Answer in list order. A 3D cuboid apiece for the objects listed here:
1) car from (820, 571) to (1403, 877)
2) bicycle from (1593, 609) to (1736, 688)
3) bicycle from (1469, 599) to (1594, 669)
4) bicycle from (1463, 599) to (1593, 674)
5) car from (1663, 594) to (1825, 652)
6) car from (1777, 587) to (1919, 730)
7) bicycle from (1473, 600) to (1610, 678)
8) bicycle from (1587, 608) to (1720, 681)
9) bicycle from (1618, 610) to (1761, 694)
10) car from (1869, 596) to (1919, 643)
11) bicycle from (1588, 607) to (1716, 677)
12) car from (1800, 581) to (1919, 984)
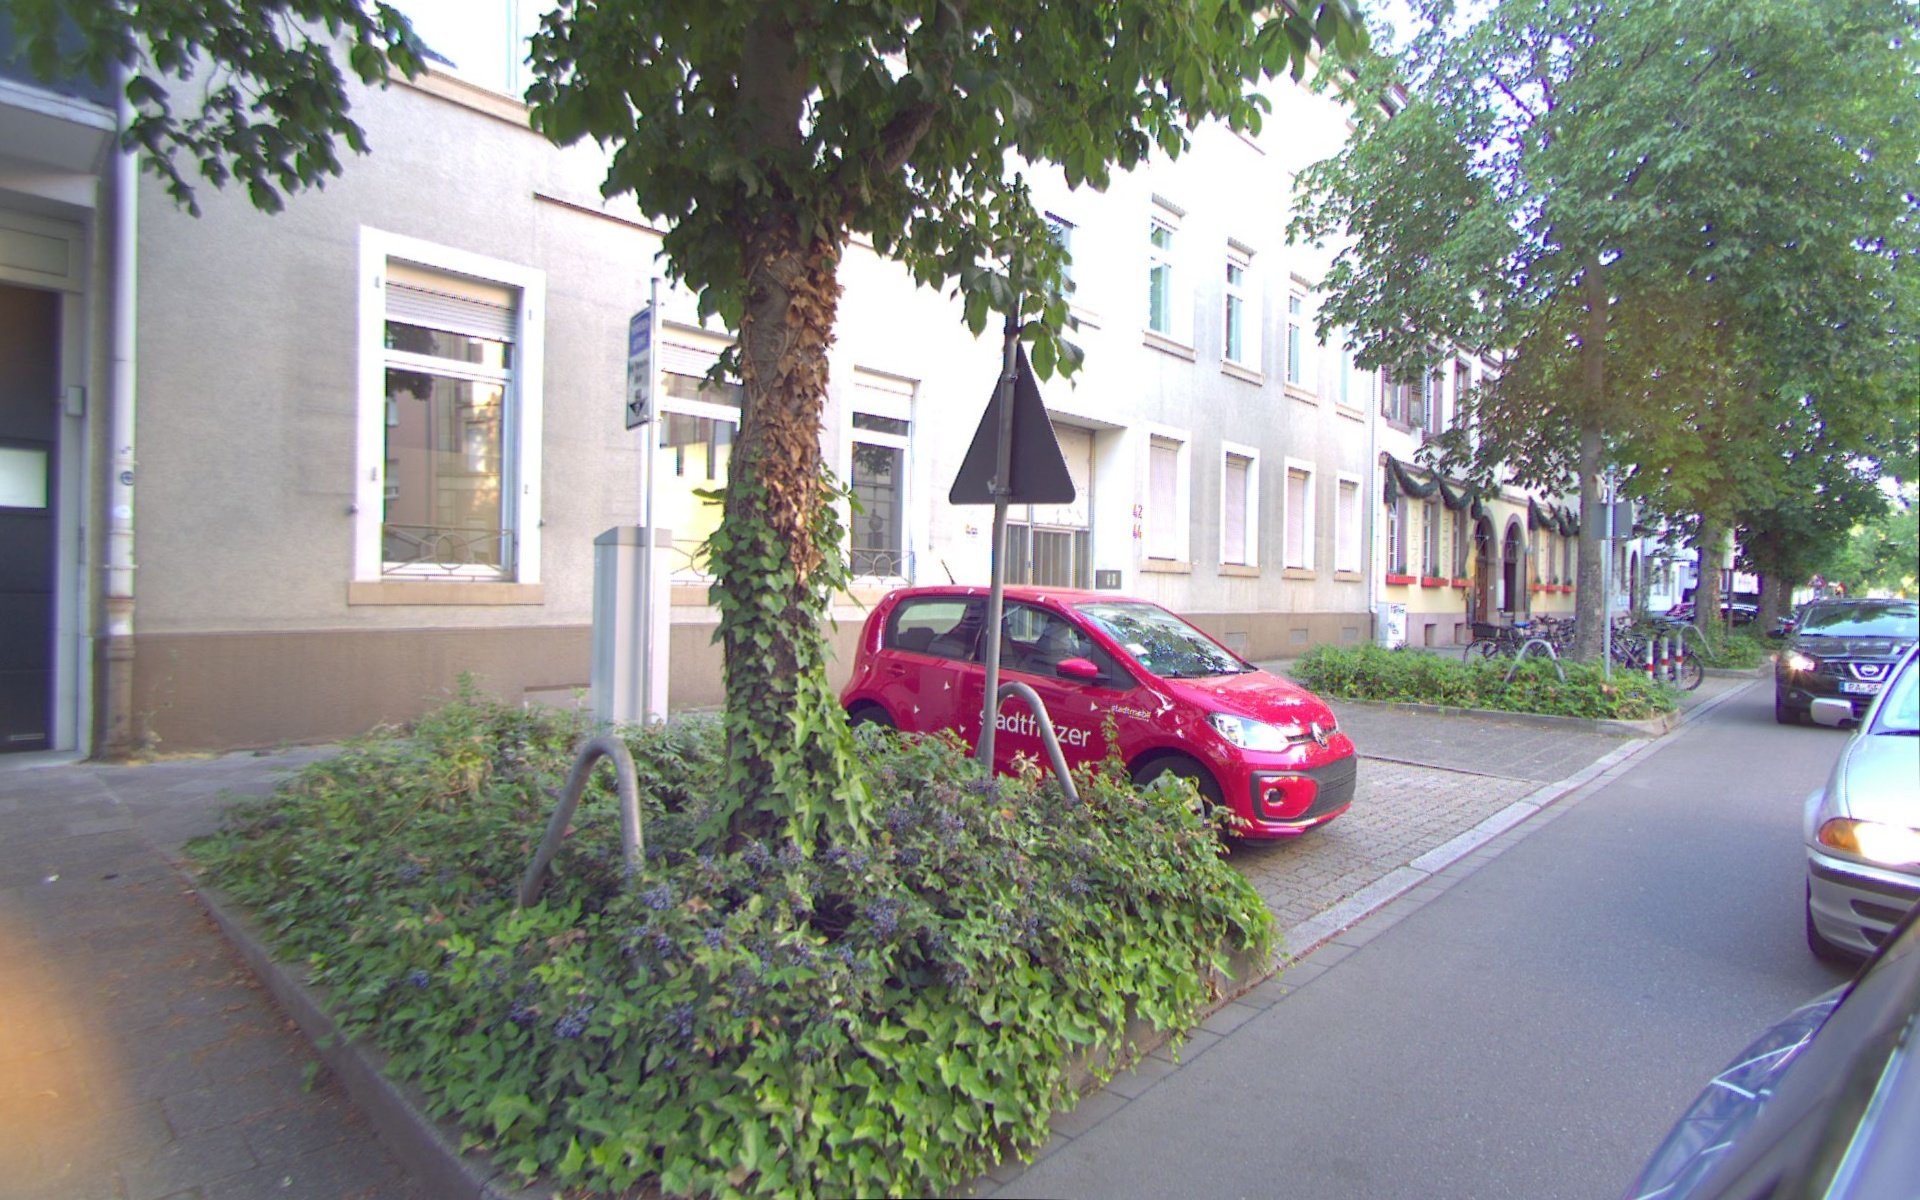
[{"bbox_3d":[0.847,0.576,6.841,3.609,1.495,1.639,2,1,42],"label":"car"},{"bbox_3d":[12.385,0.820,17.839,2.019,1.242,0.528,2,1,39],"label":"bicycle"},{"bbox_3d":[10.961,0.626,19.446,2.017,1.242,0.529,2,1,37],"label":"bicycle"},{"bbox_3d":[10.330,0.638,18.451,2.014,1.242,0.529,2,1,33],"label":"bicycle"},{"bbox_3d":[26.642,0.719,34.474,4.232,1.761,1.715,2,1,43],"label":"car"},{"bbox_3d":[11.843,0.648,12.927,1.802,1.571,3.935,2,1,45],"label":"car"},{"bbox_3d":[10.114,0.647,17.642,2.014,1.242,0.529,2,1,33],"label":"bicycle"},{"bbox_3d":[13.020,0.806,19.033,2.019,1.242,0.528,2,1,39],"label":"bicycle"},{"bbox_3d":[11.882,0.819,16.553,1.835,1.242,0.529,2,1,33],"label":"bicycle"},{"bbox_3d":[34.302,0.676,36.760,1.801,1.571,3.937,2,1,43],"label":"car"},{"bbox_3d":[13.500,0.797,19.786,2.019,1.242,0.528,2,1,39],"label":"bicycle"},{"bbox_3d":[5.466,0.675,4.705,4.358,1.460,1.710,0,1,-41],"label":"car"}]
